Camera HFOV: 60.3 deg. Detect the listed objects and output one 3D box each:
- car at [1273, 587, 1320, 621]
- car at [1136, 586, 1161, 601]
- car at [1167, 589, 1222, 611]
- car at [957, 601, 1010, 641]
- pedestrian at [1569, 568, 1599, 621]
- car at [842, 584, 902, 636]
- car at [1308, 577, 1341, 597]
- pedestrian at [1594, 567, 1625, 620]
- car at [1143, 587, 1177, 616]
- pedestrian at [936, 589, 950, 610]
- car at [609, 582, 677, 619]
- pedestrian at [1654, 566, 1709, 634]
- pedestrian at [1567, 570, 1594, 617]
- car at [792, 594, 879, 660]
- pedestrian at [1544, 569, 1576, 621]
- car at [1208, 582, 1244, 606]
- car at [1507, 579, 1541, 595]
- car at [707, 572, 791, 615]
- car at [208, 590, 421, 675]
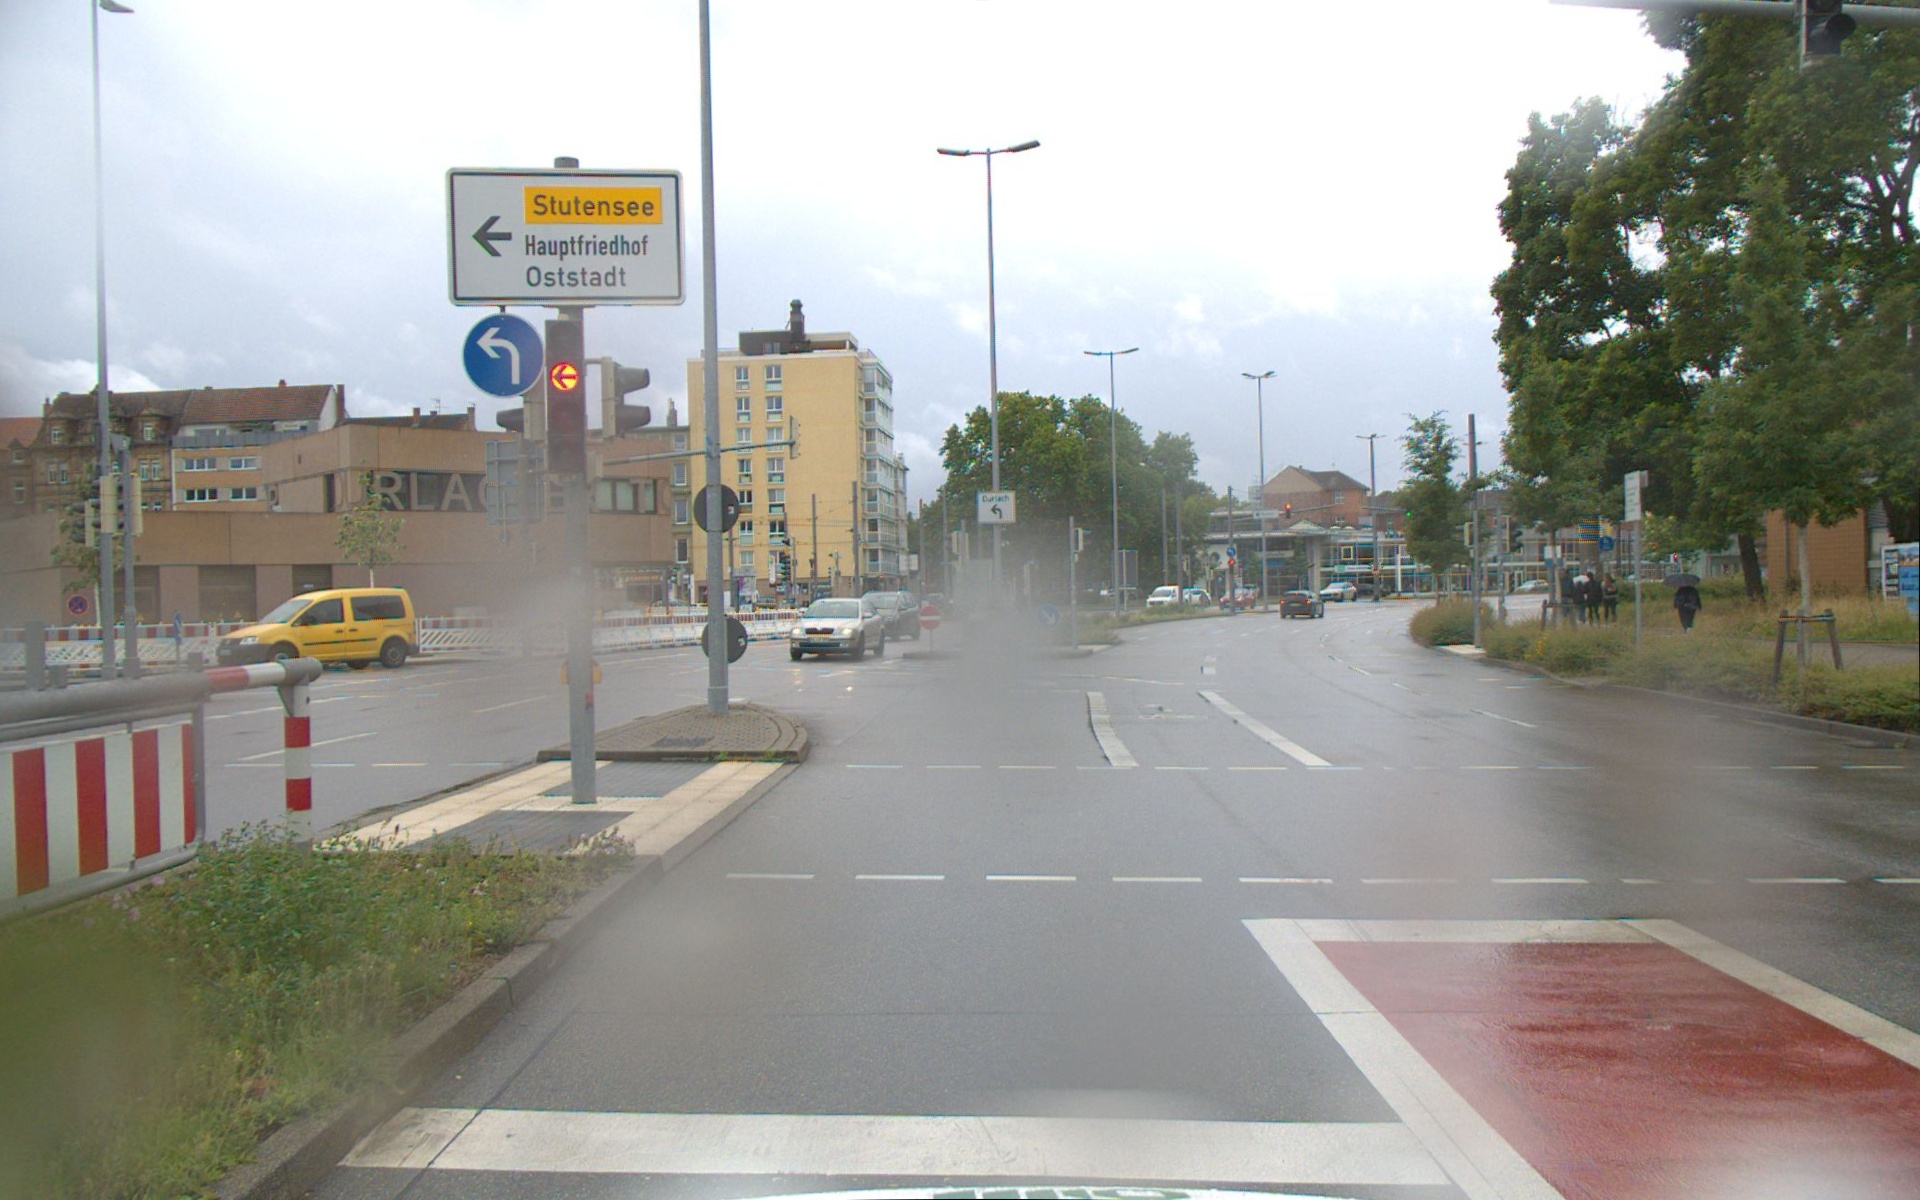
[{"bbox_3d":[17.749,0.185,87.089,1.753,1.672,4.160,-1,0,21],"label":"car"},{"bbox_3d":[21.780,-0.788,191.143,1.753,1.672,4.159,-1,0,23],"label":"car"},{"bbox_3d":[19.428,0.014,136.729,4.336,1.672,1.778,-2,0,-30],"label":"car"},{"bbox_3d":[0.923,0.771,62.486,1.734,1.400,4.123,-1,0,5],"label":"car"},{"bbox_3d":[19.397,-0.166,51.430,0.688,1.615,0.937,-1,0,9],"label":"pedestrian"},{"bbox_3d":[-3.077,0.323,58.480,1.735,1.708,4.770,-1,0,1],"label":"car"},{"bbox_3d":[31.885,-1.118,144.689,1.755,1.672,4.154,-1,0,27],"label":"car"},{"bbox_3d":[20.208,-0.191,51.471,0.688,1.615,0.937,-1,0,9],"label":"pedestrian"},{"bbox_3d":[13.802,0.064,114.189,1.752,1.890,4.163,-1,0,15],"label":"car"},{"bbox_3d":[-1.458,-0.041,143.886,1.071,1.845,1.117,-2,0,-5],"label":"pedestrian"},{"bbox_3d":[-27.163,0.033,141.689,5.239,2.937,2.340,-2,0,2],"label":"car"},{"bbox_3d":[17.690,-0.006,40.580,1.000,1.615,0.937,-1,0,9],"label":"pedestrian"},{"bbox_3d":[21.721,-0.217,57.911,0.688,1.615,0.937,-1,0,11],"label":"pedestrian"},{"bbox_3d":[-3.017,0.632,40.908,1.659,1.440,4.185,-2,1,2],"label":"car"},{"bbox_3d":[18.863,-0.154,52.023,0.737,1.615,0.937,-1,0,9],"label":"pedestrian"},{"bbox_3d":[19.003,-0.431,117.963,1.753,1.672,4.047,-1,0,21],"label":"car"},{"bbox_3d":[61.135,-1.443,179.225,4.128,1.672,1.767,-2,0,-44],"label":"car"},{"bbox_3d":[-17.981,-0.525,141.195,6.601,3.439,2.810,-2,0,2],"label":"car"},{"bbox_3d":[-14.341,0.687,36.904,1.679,1.735,4.131,-1,0,40],"label":"car"}]
